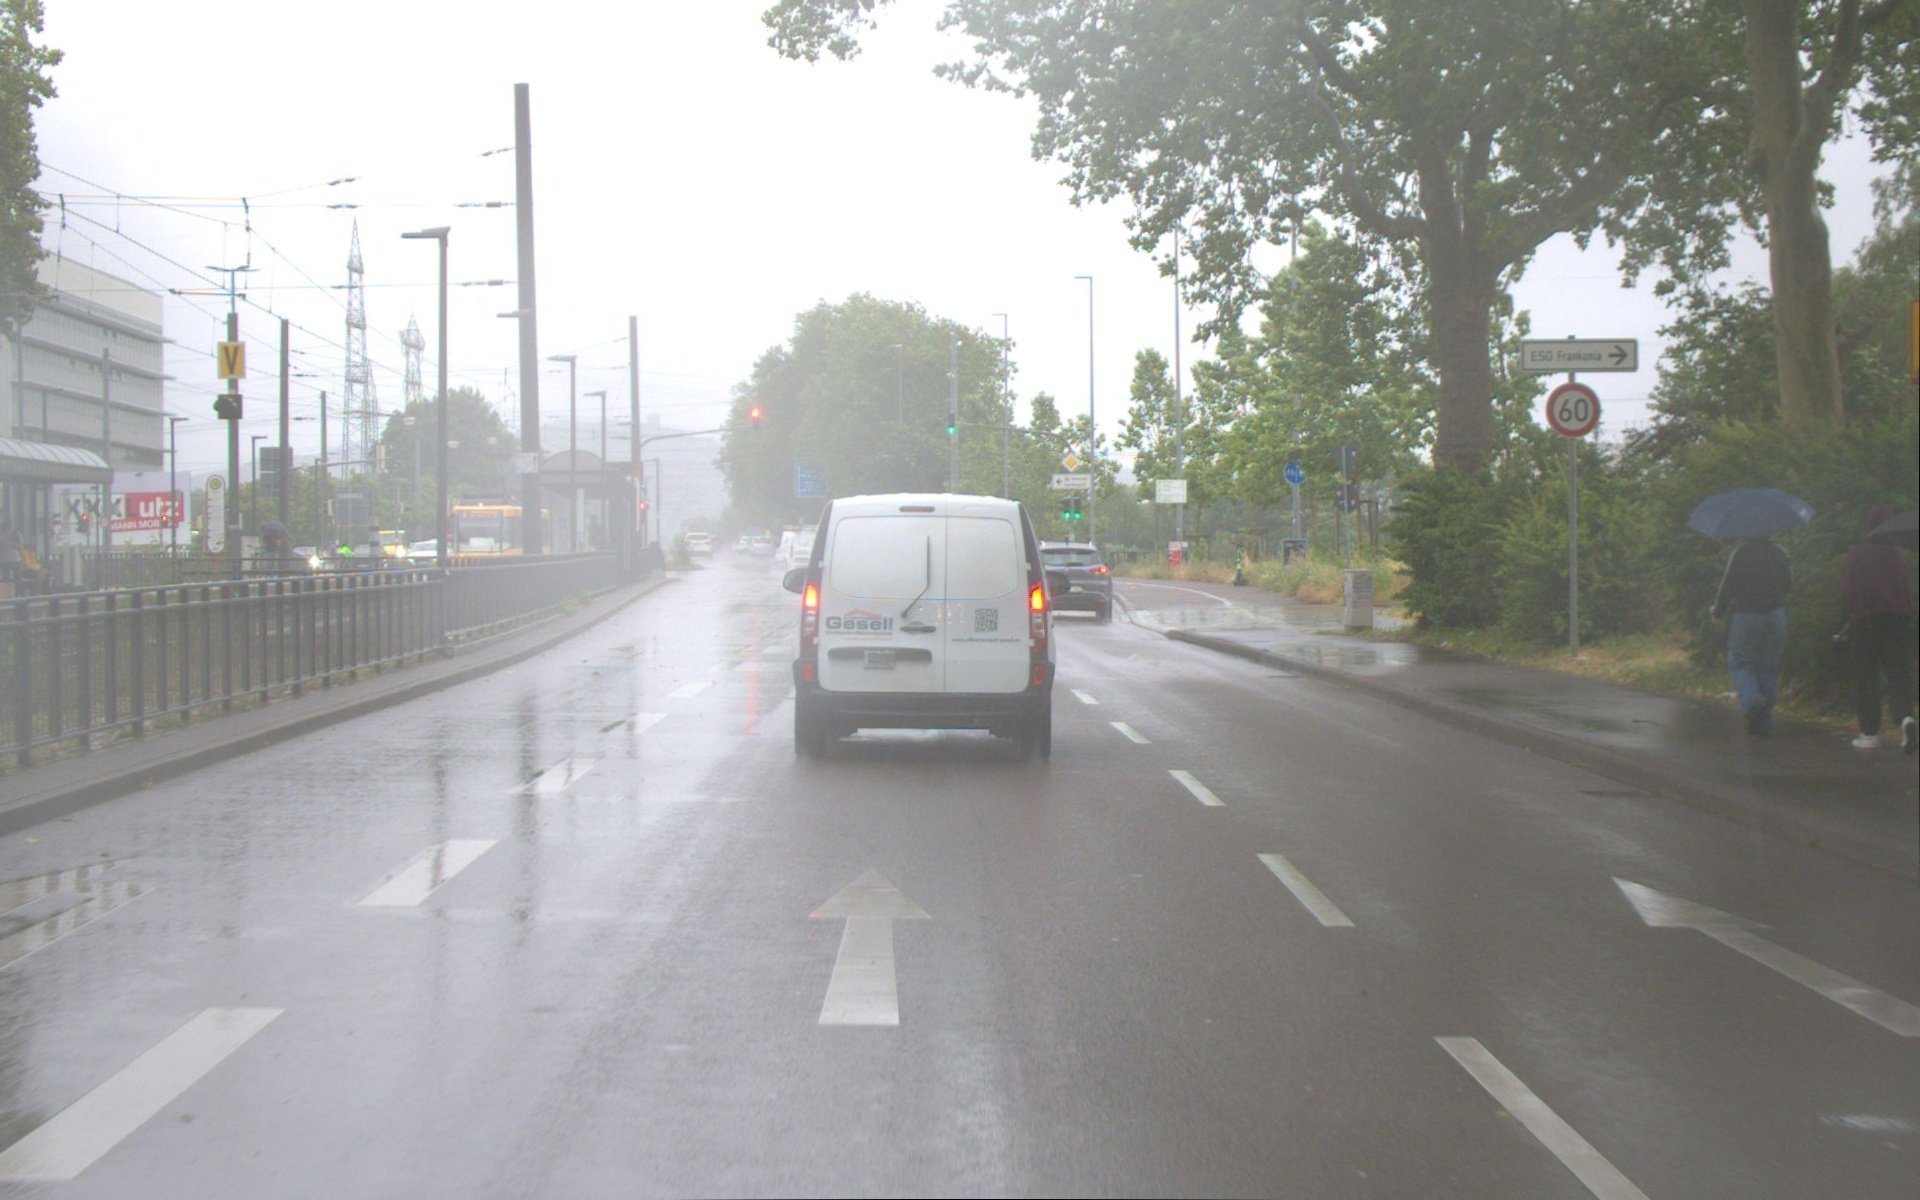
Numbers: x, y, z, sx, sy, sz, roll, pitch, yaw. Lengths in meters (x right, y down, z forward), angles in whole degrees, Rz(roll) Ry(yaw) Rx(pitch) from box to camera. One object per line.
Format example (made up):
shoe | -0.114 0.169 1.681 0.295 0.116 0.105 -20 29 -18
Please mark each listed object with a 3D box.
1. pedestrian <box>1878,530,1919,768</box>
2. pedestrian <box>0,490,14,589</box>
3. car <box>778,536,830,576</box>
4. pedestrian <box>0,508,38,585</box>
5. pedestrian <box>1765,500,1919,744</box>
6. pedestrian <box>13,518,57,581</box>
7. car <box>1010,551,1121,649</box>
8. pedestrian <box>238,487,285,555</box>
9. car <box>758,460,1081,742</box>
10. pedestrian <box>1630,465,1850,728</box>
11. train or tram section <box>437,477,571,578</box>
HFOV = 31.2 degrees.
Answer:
pedestrian | 6.025 0.269 20.286 0.892 1.385 1.016 -2 1 0
pedestrian | -18.932 -1.187 67.147 0.621 1.926 0.814 2 1 3
car | -7.117 -2.013 156.204 1.993 1.744 4.001 2 1 -7
pedestrian | -19.367 -1.101 70.312 0.825 1.556 0.673 1 1 -27
pedestrian | 6.036 0.131 23.033 0.947 1.583 1.294 -1 1 -1
pedestrian | -19.579 -1.067 72.787 0.643 1.298 0.814 2 1 3
car | 1.970 -0.020 65.098 1.993 1.744 4.000 2 1 1
pedestrian | -21.026 -2.367 103.449 1.088 2.007 1.096 2 1 3
car | -0.387 -0.024 24.392 2.024 1.769 4.275 2 1 -4
pedestrian | 5.522 -0.032 24.432 1.240 1.779 1.147 -2 1 -1
train or tram section | -20.179 -3.191 154.079 3.770 4.022 27.097 2 1 -3
